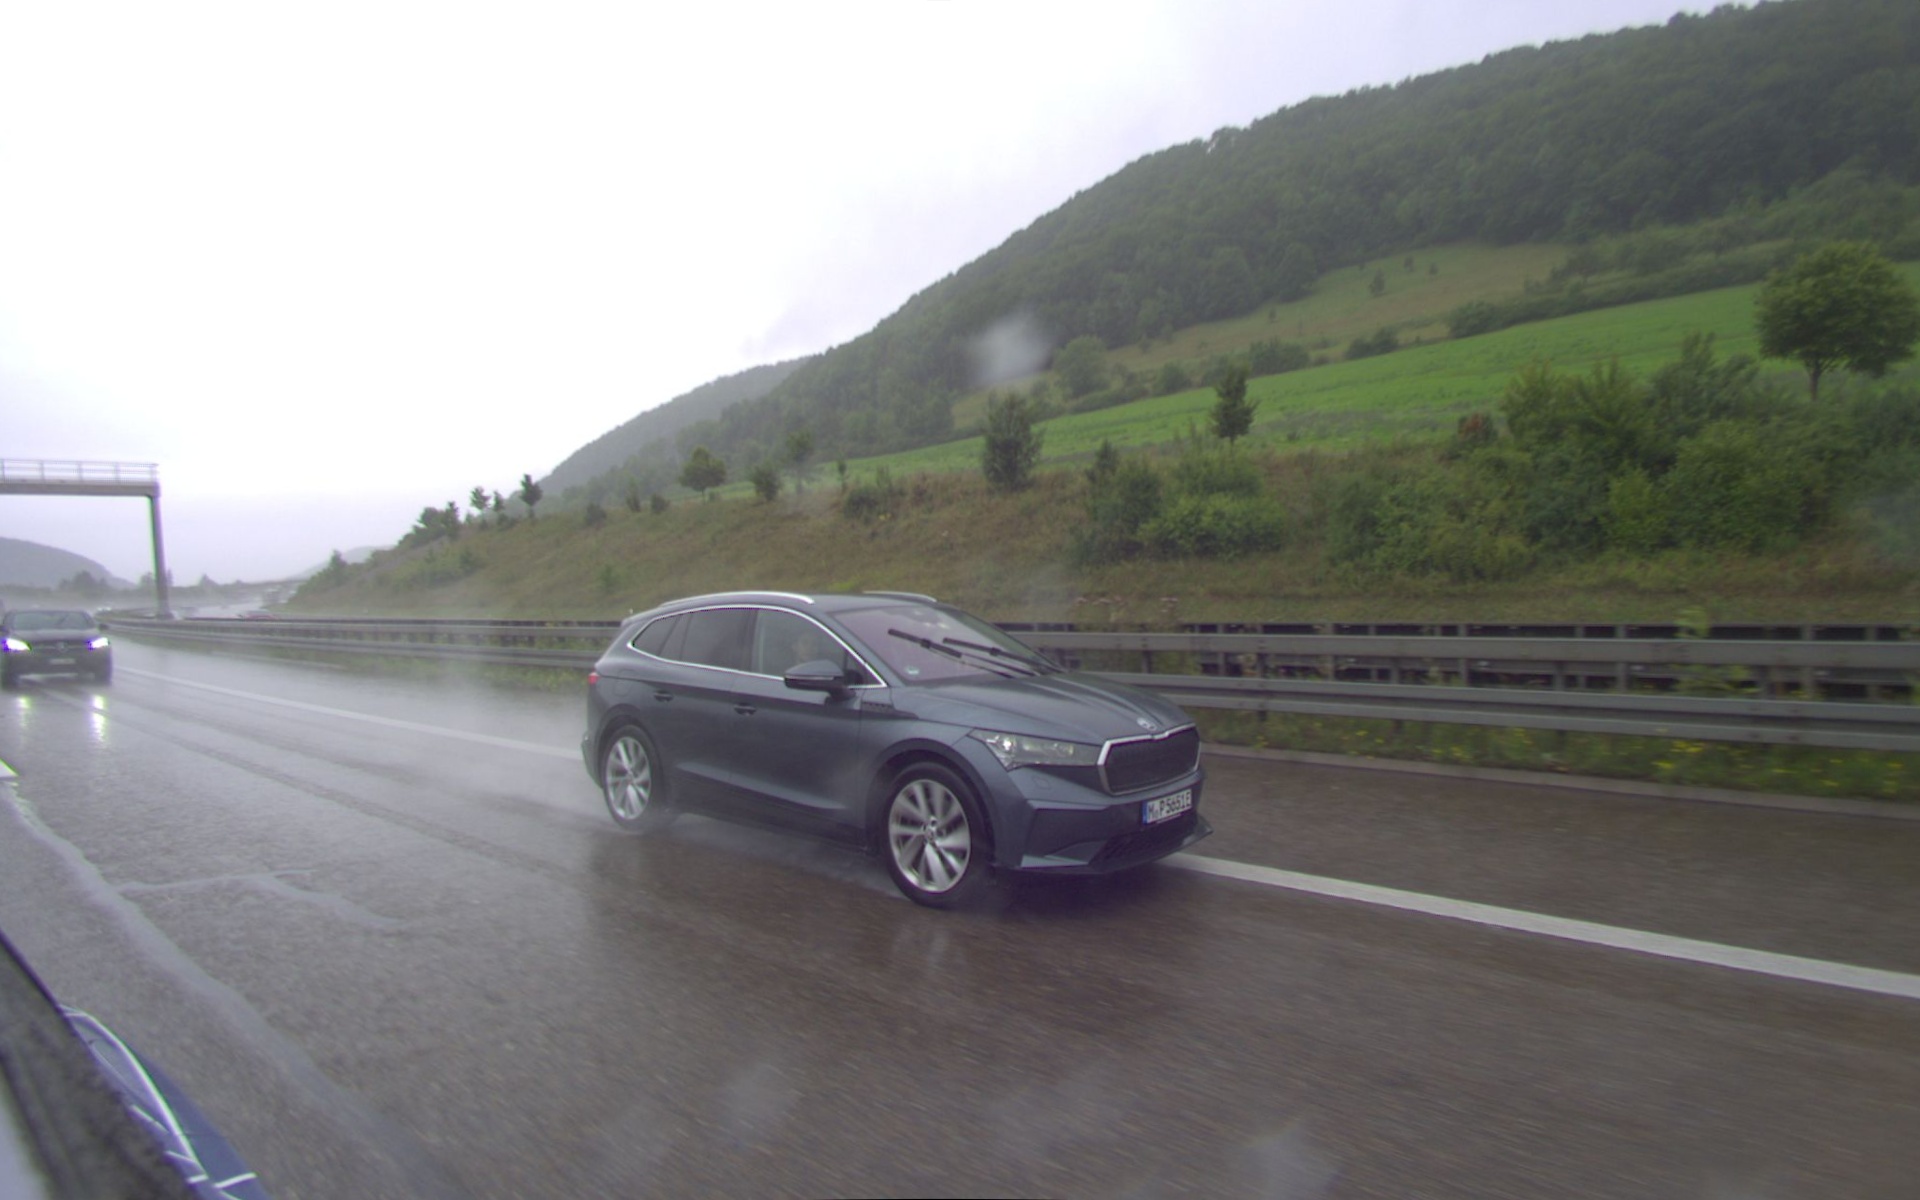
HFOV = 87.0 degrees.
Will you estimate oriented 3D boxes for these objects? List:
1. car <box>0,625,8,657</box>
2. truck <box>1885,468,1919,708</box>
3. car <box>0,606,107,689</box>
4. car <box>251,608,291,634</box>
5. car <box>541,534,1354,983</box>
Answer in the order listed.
[{"bbox_3d":[-62.932,2.650,65.220,3.931,2.029,1.962,-2,-1,41],"label":"car"},{"bbox_3d":[16.968,-0.226,14.481,5.307,3.569,2.688,-1,0,40],"label":"truck"},{"bbox_3d":[-21.663,1.037,23.443,3.735,1.715,1.797,-1,1,31],"label":"car"},{"bbox_3d":[-50.376,1.507,73.954,3.683,1.807,1.661,-1,-1,43],"label":"car"},{"bbox_3d":[-0.410,0.624,6.191,4.906,1.696,1.973,0,-1,41],"label":"car"}]
